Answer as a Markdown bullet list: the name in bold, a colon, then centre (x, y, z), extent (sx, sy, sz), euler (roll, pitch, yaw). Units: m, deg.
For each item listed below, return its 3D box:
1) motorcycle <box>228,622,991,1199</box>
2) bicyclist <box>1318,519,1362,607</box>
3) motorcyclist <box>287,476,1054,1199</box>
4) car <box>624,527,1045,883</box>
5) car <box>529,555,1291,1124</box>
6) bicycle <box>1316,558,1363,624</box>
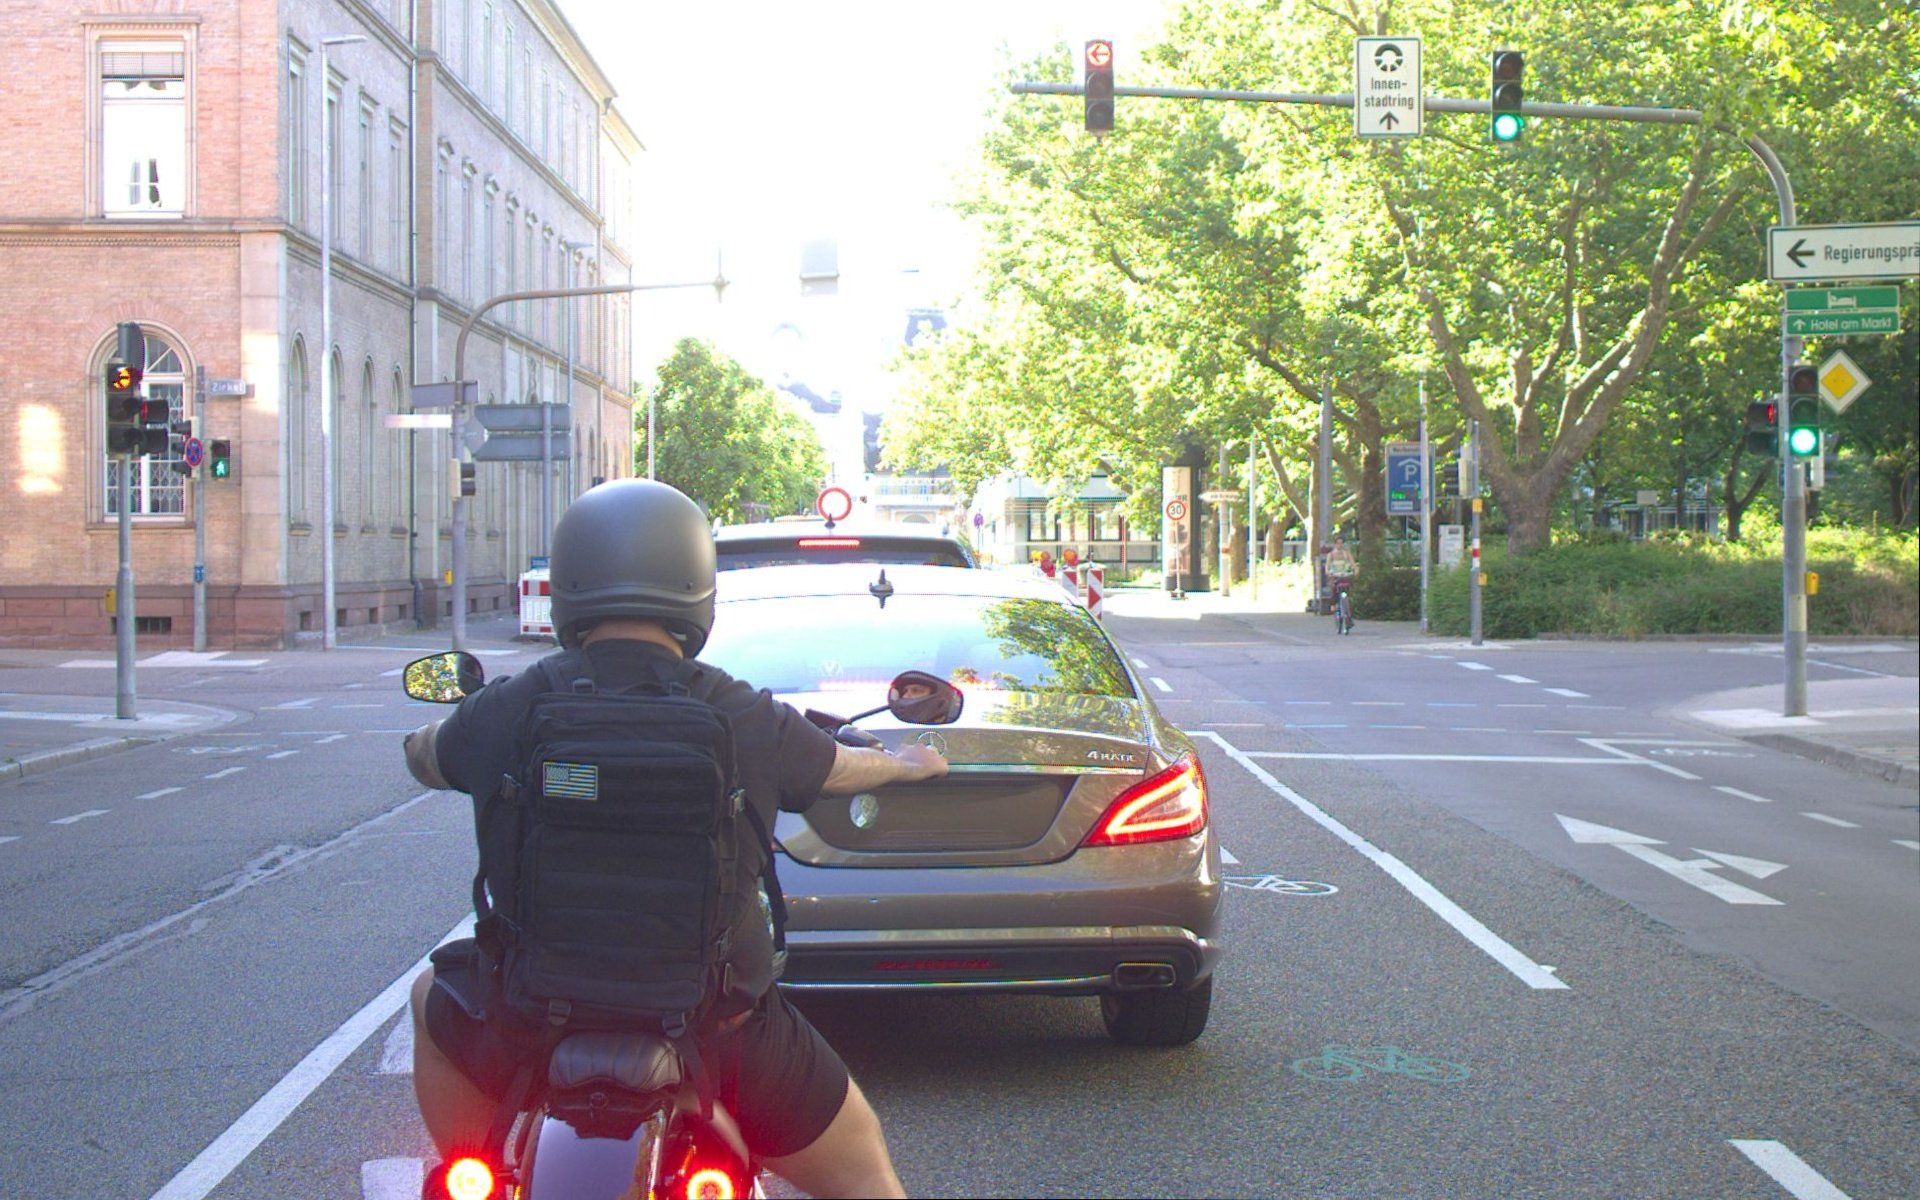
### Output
- **motorcycle**: centre (-0.464, 0.737, 5.541), extent (0.962, 1.352, 2.320), euler (1, 1, -1)
- **bicyclist**: centre (6.918, -0.674, 62.599), extent (0.716, 1.577, 0.936), euler (1, 0, 3)
- **motorcyclist**: centre (-0.414, 0.618, 5.269), extent (1.061, 1.577, 0.908), euler (1, 0, -1)
- **car**: centre (-0.646, 0.416, 16.771), extent (1.813, 1.530, 3.849), euler (0, 1, -3)
- **car**: centre (-0.380, 0.586, 11.086), extent (1.901, 1.436, 4.290), euler (0, 1, -8)
- **bicycle**: centre (6.915, -0.172, 62.728), extent (0.716, 1.168, 2.176), euler (1, 1, 3)
